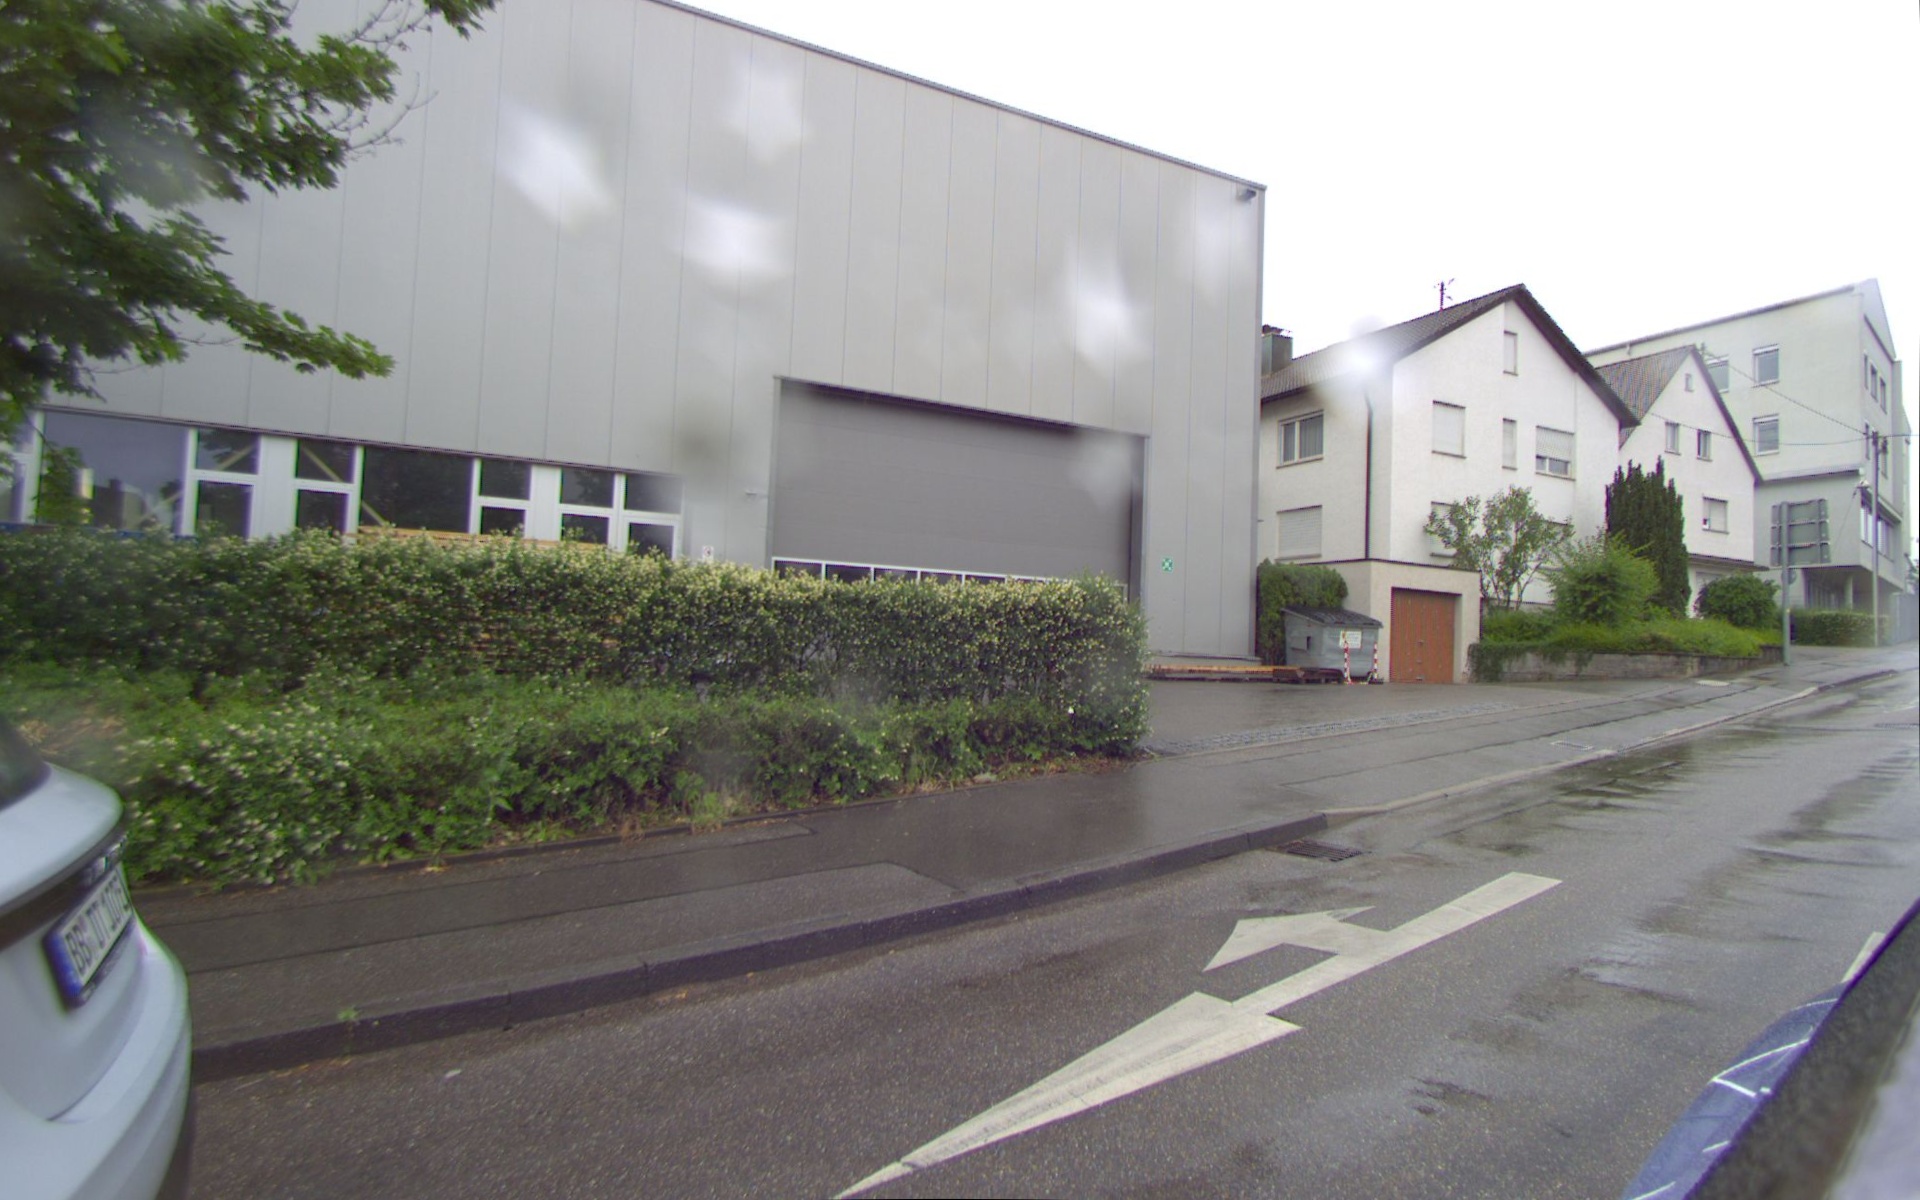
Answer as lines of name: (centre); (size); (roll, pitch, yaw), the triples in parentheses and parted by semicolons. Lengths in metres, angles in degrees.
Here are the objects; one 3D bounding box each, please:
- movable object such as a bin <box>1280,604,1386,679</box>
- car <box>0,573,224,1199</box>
movable object such as a bin: (8.040, 0.882, 21.862); (1.556, 1.555, 1.451); (2, -1, -25)
car: (-3.132, 0.698, 0.903); (3.829, 1.574, 1.695); (2, -1, -32)
